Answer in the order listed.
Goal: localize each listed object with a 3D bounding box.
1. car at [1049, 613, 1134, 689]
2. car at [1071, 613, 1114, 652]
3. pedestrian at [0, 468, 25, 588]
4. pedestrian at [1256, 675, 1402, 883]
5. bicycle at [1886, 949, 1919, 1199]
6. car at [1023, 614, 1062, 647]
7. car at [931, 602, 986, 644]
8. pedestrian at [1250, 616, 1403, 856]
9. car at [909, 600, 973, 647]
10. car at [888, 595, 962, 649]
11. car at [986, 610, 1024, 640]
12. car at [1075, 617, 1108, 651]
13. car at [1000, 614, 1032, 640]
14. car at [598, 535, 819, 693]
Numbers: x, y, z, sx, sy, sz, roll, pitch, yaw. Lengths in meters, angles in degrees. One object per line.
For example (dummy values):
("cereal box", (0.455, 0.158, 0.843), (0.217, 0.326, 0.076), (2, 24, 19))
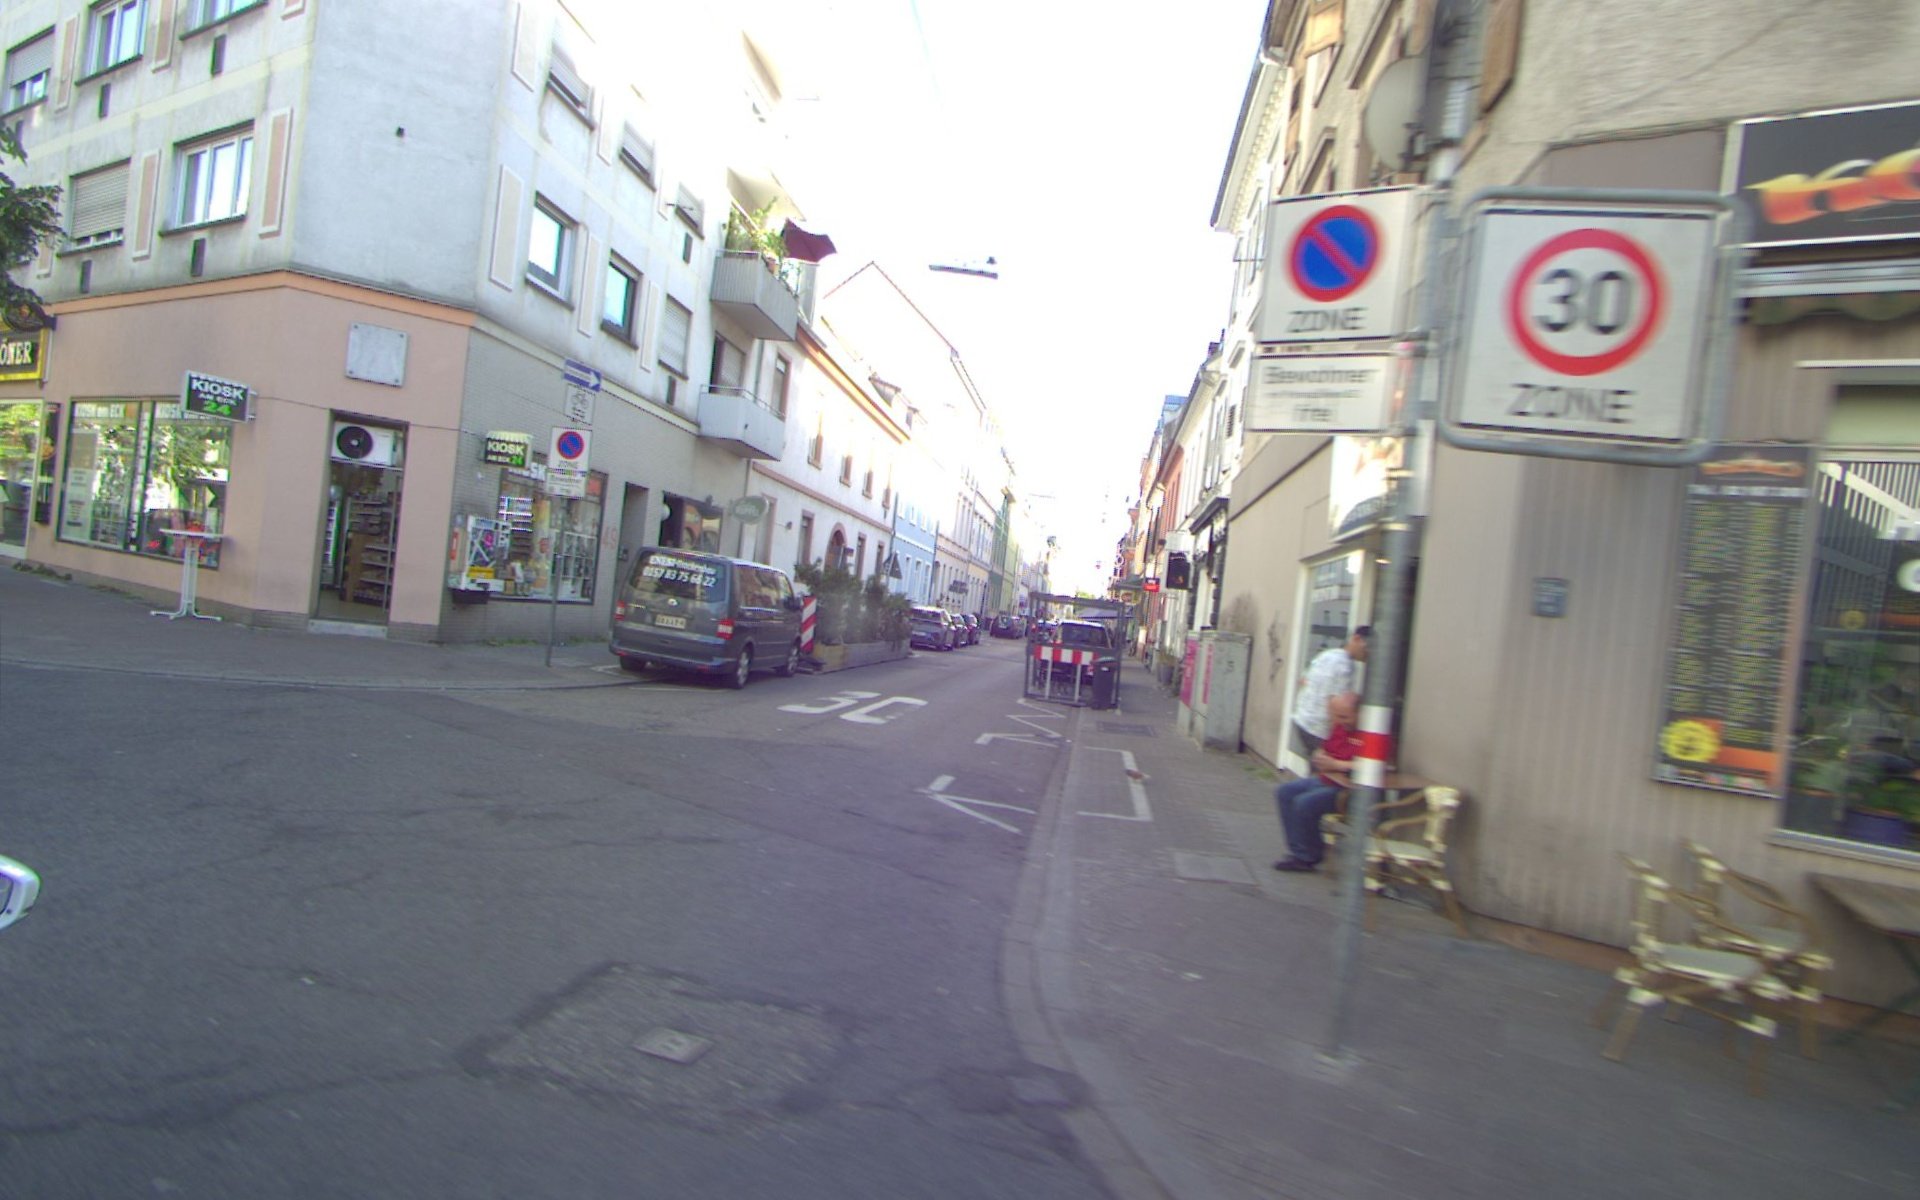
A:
("car", (3.611, 1.313, 27.408), (1.905, 1.664, 4.052), (8, 1, 8))
("car", (6.814, 1.630, 51.573), (1.905, 1.664, 4.052), (8, 1, 8))
("pedestrian", (-13.817, -1.049, 14.215), (0.736, 1.667, 0.642), (8, 3, 30))
("pedestrian", (2.507, 1.196, 6.898), (0.580, 1.275, 0.711), (4, 1, -8))
("bicycle", (2.658, 1.247, 1.742), (1.641, 1.160, 0.378), (6, 2, 7))
("car", (5.045, 1.822, 60.885), (1.905, 1.664, 4.052), (8, 1, 8))
("car", (-0.022, 1.108, 47.821), (1.905, 1.664, 3.824), (7, 0, 8))
("pedestrian", (2.823, 1.015, 7.820), (0.695, 1.718, 0.799), (4, 1, -8))
("car", (-0.749, 0.991, 42.291), (1.905, 1.664, 3.824), (7, 0, 8))
("car", (-1.231, 0.818, 37.180), (1.905, 1.664, 3.824), (7, 0, 8))
("car", (3.044, 1.637, 67.410), (1.905, 1.664, 3.822), (8, 1, 8))
("car", (8.864, 2.240, 67.493), (1.905, 1.971, 4.052), (8, 1, 8))
("car", (4.344, 2.028, 77.092), (1.905, 1.664, 3.822), (8, 1, 8))
("car", (-3.839, 0.205, 16.311), (1.905, 1.941, 4.494), (8, 1, 5))
